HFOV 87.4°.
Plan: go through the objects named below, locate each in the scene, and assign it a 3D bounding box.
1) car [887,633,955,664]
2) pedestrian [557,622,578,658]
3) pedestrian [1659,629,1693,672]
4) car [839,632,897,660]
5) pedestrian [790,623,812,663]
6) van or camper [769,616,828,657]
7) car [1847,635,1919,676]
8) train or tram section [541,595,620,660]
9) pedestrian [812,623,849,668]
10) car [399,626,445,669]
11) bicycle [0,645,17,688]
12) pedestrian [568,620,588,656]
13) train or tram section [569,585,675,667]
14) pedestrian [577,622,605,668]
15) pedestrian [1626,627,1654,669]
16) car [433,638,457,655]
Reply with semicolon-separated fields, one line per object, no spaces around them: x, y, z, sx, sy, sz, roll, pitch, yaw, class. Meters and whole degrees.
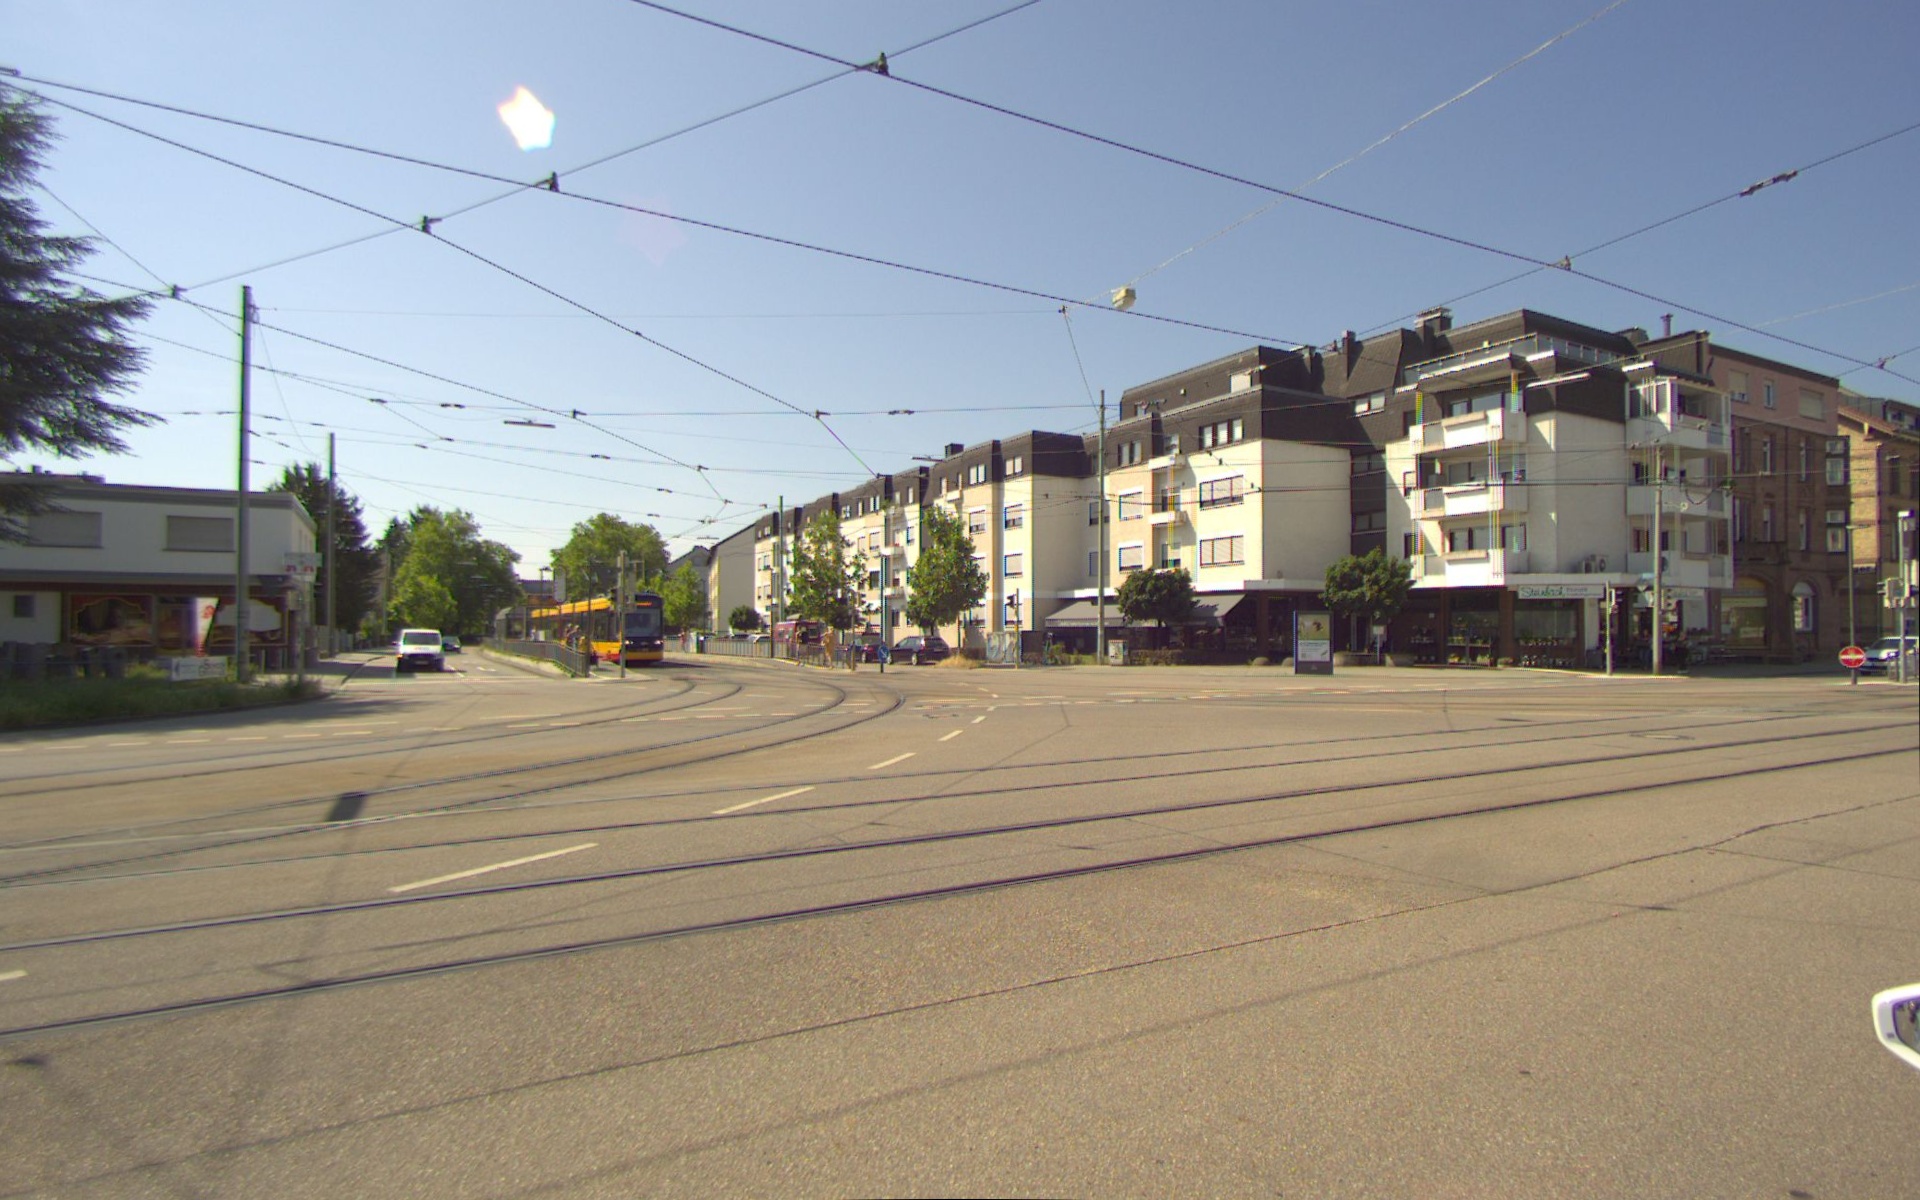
-2.045;2.451;51.618;1.806;1.520;4.154;1;-2;-30;car
-18.989;1.946;48.619;0.804;1.702;1.086;1;-2;-29;pedestrian
28.092;1.965;39.414;0.673;1.669;0.874;1;-2;-30;pedestrian
-5.254;2.587;56.988;1.806;1.520;3.969;1;-2;-30;car
-7.187;1.925;45.272;0.754;1.783;0.805;1;-2;-29;pedestrian
-10.816;2.429;66.931;2.348;2.659;4.853;1;-2;-30;van or camper
35.688;2.079;38.369;3.918;1.450;1.617;1;-1;-31;car
-24.469;1.803;64.180;2.735;3.706;13.804;1;-2;-29;train or tram section
-5.438;1.908;42.106;1.109;1.860;1.428;1;-2;-29;pedestrian
-24.779;2.170;46.268;1.755;1.886;4.625;1;-2;-29;car
-20.746;1.372;20.526;0.564;0.902;2.137;-1;-2;19;bicycle
-17.629;1.741;46.400;0.775;1.648;0.655;1;-2;-29;pedestrian
-17.795;1.393;52.102;2.735;3.706;13.804;1;-2;-29;train or tram section
-15.121;1.841;41.168;0.886;1.862;1.193;1;-2;-29;pedestrian
27.211;1.921;40.183;0.724;1.669;0.675;1;-2;-30;pedestrian
-44.254;3.975;86.323;1.737;1.460;3.970;1;-2;-29;car
